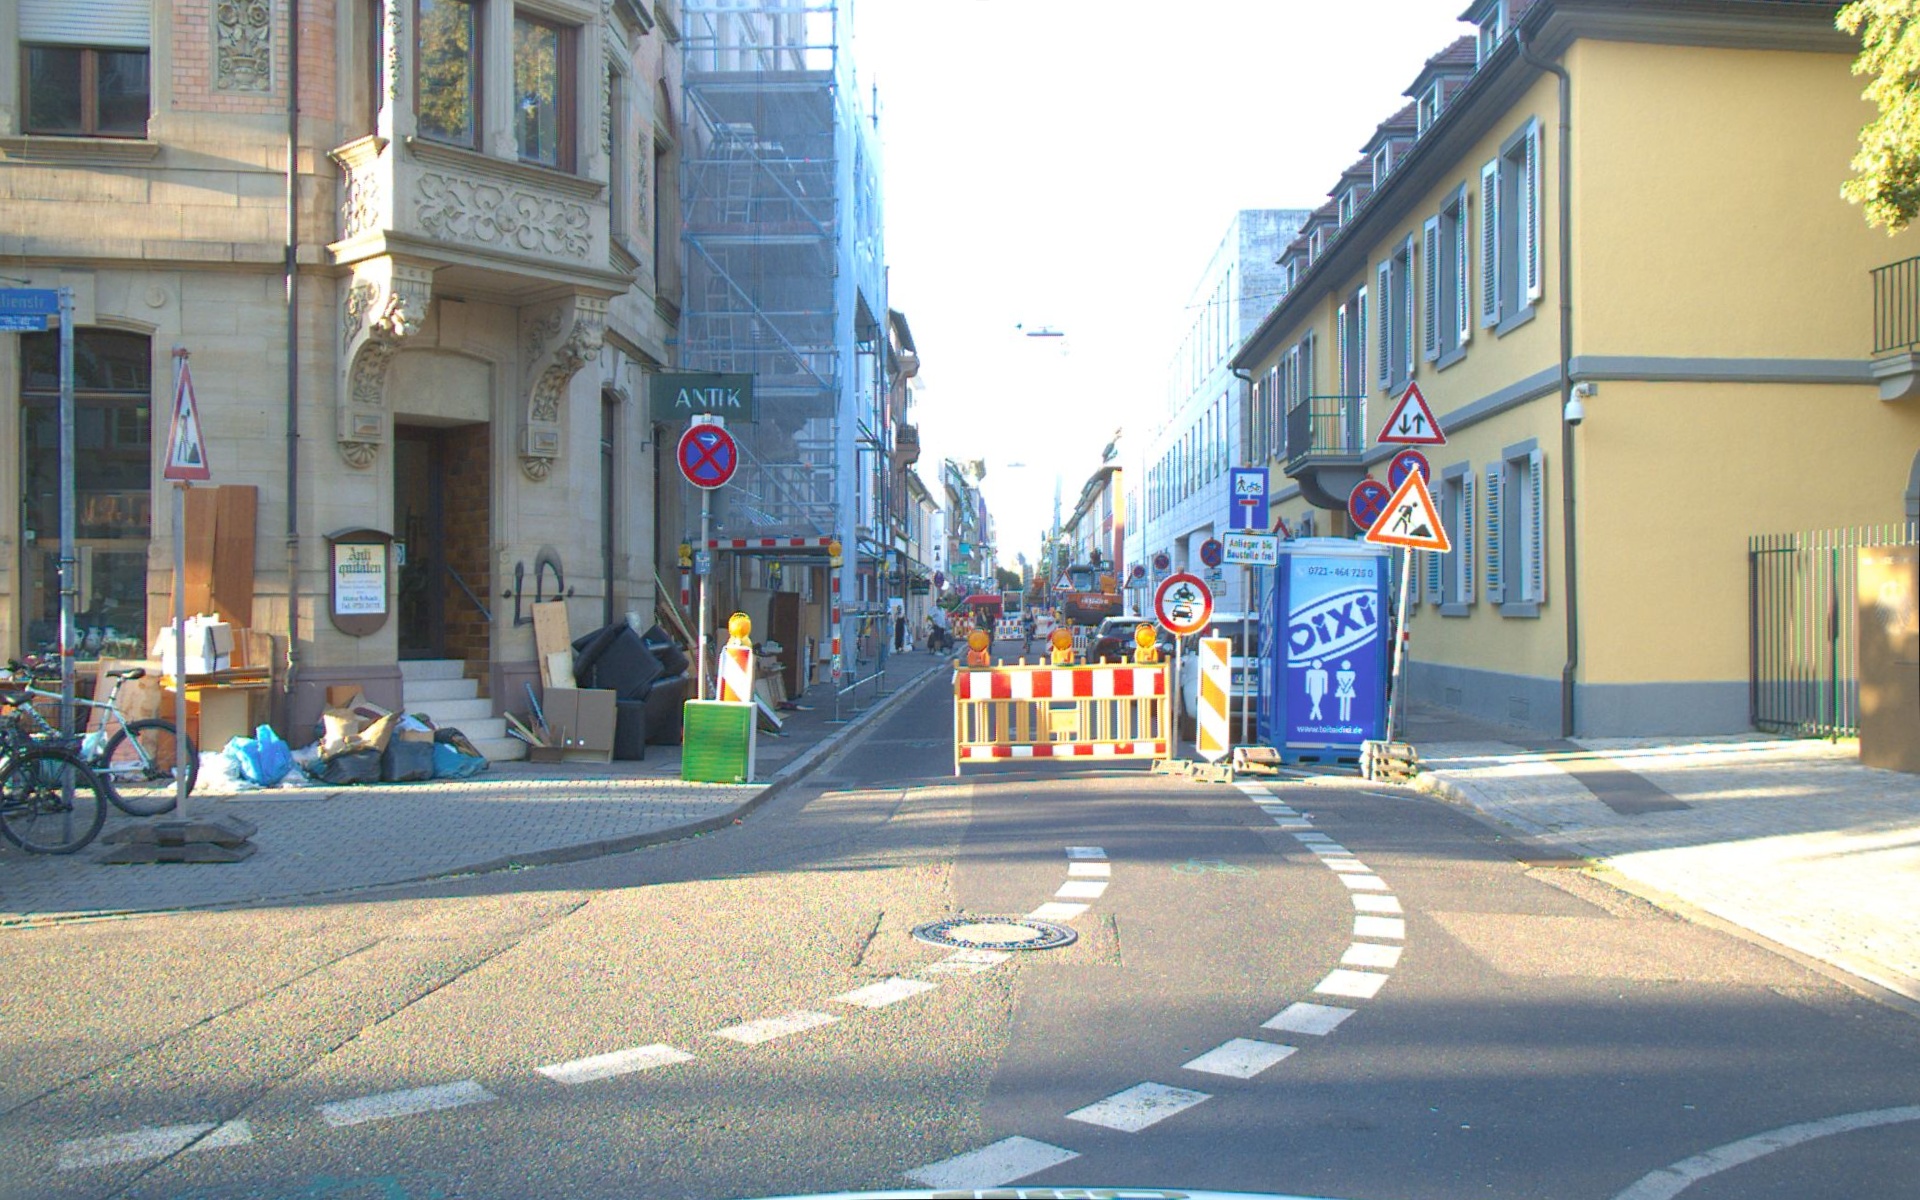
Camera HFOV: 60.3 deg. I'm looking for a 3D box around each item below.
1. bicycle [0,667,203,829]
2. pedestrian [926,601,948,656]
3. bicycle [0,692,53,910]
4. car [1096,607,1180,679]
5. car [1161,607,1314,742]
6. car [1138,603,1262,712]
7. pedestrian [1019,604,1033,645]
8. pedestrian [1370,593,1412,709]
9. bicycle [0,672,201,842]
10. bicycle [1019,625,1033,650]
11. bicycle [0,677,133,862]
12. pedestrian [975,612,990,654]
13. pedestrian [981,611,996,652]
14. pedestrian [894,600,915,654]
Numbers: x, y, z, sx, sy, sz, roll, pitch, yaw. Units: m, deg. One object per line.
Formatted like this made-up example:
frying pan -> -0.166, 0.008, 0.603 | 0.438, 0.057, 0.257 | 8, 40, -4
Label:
bicycle -> -6.380, 1.011, 11.394 | 2.065, 1.058, 0.464 | 0, 0, -10
pedestrian -> -0.767, 0.928, 54.745 | 0.501, 1.795, 0.505 | 0, 0, -39
bicycle -> -5.747, 1.031, 8.530 | 1.791, 1.065, 0.571 | 0, 0, -6
car -> 3.979, 0.935, 37.358 | 1.682, 1.547, 3.222 | 0, 0, 2
car -> 3.458, 0.886, 21.073 | 1.508, 1.546, 3.222 | 1, 0, 2
car -> 3.650, 0.831, 25.683 | 1.508, 1.547, 3.980 | 0, 0, 2
pedestrian -> 2.428, 0.905, 60.900 | 0.494, 1.487, 0.512 | 0, 0, 3
pedestrian -> 6.136, 0.719, 23.587 | 0.457, 1.623, 0.673 | 0, 0, 5
bicycle -> -6.112, 1.004, 10.717 | 2.065, 1.031, 0.638 | 0, 0, -10
bicycle -> 2.427, 1.384, 60.976 | 0.494, 0.899, 1.477 | 0, 0, 2
bicycle -> -5.969, 0.998, 9.807 | 1.792, 1.031, 0.638 | 0, 0, -9
pedestrian -> 0.787, 1.157, 58.332 | 0.494, 1.487, 0.512 | 0, 0, 2
pedestrian -> 1.054, 1.166, 61.027 | 0.494, 1.487, 0.513 | 0, 0, 8
pedestrian -> -1.845, 0.905, 55.247 | 0.662, 1.763, 0.699 | 0, -1, -1
